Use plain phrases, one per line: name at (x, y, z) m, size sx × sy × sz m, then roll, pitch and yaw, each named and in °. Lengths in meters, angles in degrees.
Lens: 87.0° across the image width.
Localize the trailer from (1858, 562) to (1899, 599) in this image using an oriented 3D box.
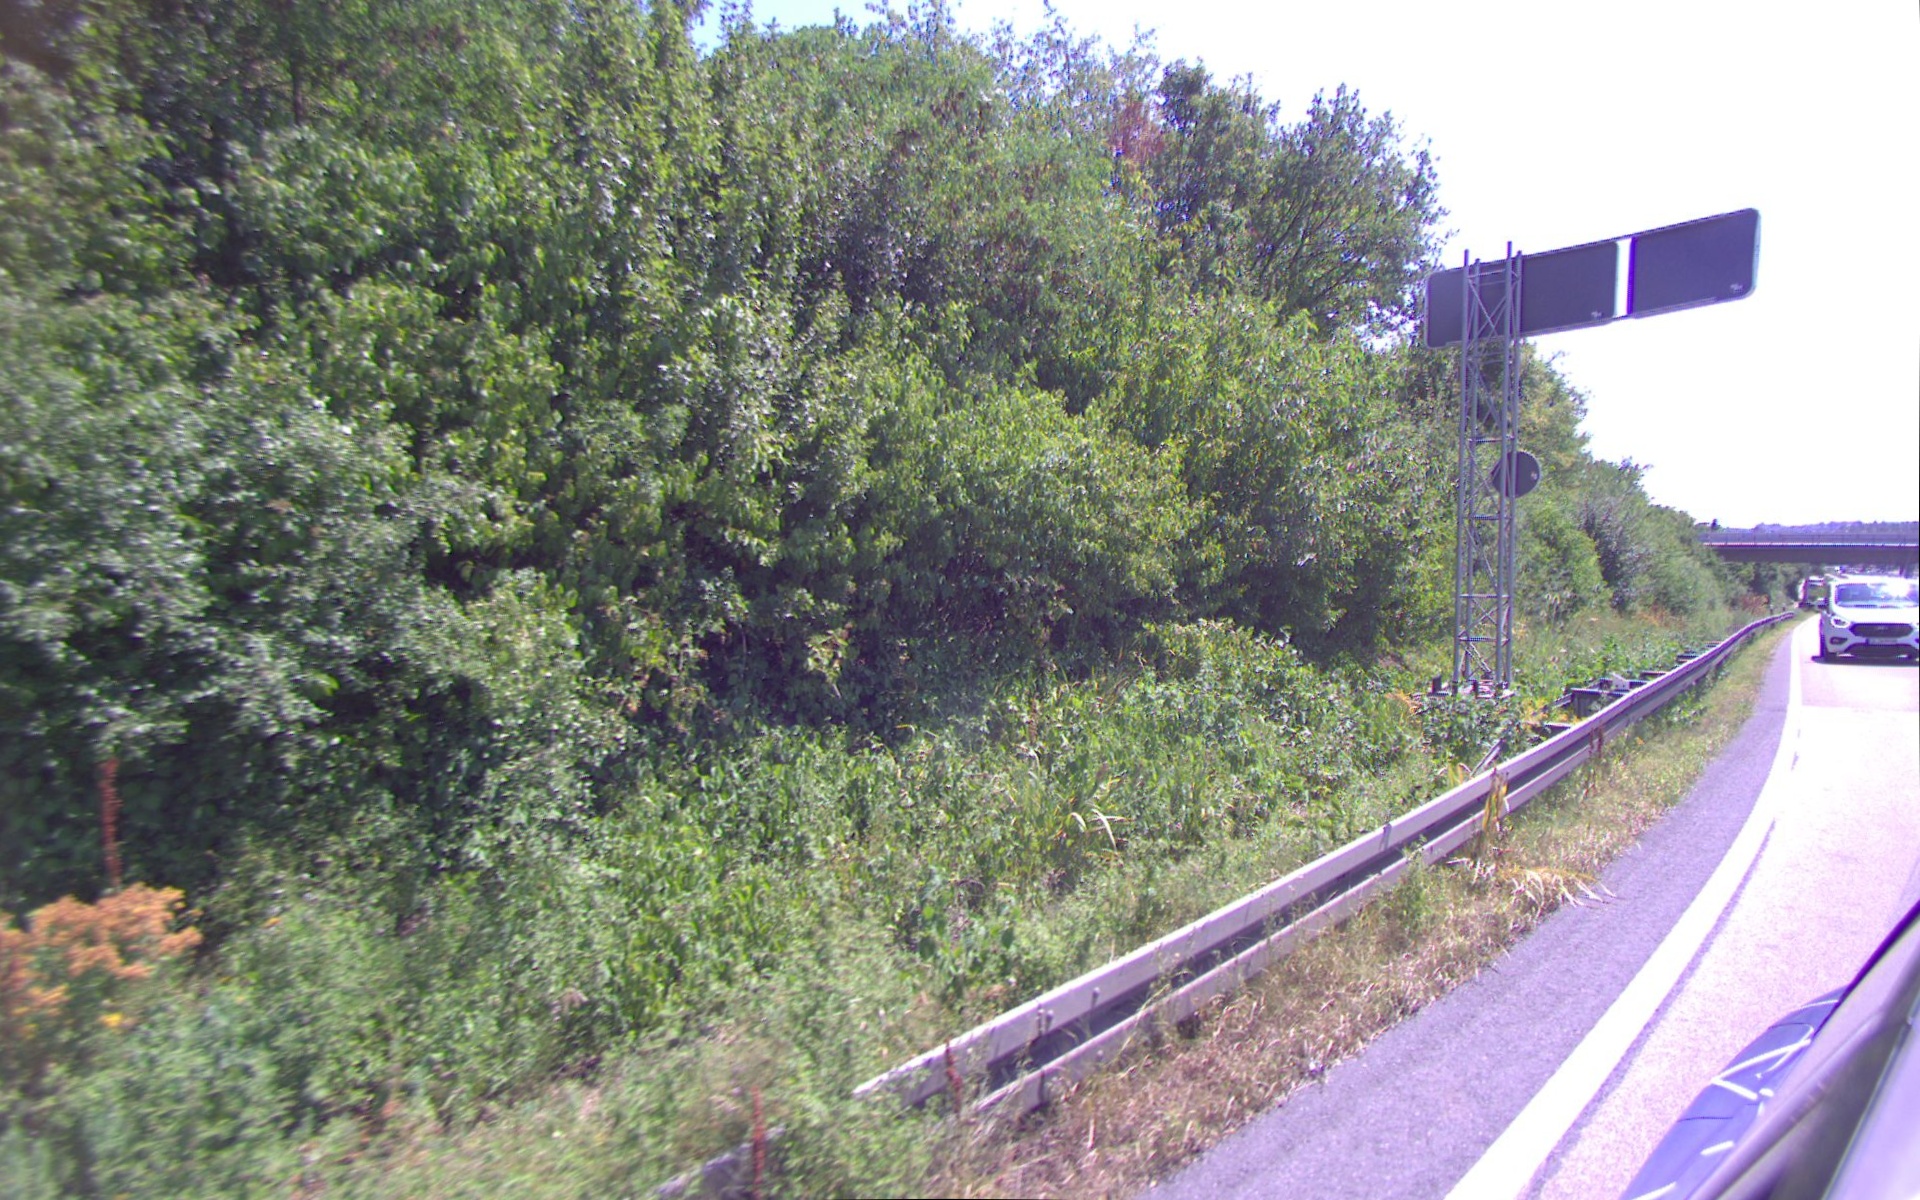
trailer at (131.333, -2.672, 144.590) m, size 3.959 × 5.014 × 15.749 m, roll 1°, pitch 1°, yaw 43°

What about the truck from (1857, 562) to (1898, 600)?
truck at (126.147, -2.631, 139.123) m, size 3.975 × 5.014 × 6.131 m, roll 1°, pitch 1°, yaw 44°

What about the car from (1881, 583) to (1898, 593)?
car at (162.739, -2.079, 177.196) m, size 1.994 × 1.652 × 4.401 m, roll 1°, pitch 1°, yaw 44°

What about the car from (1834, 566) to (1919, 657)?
car at (22.786, 0.239, 24.751) m, size 2.055 × 2.039 × 4.965 m, roll 0°, pitch 0°, yaw 42°
